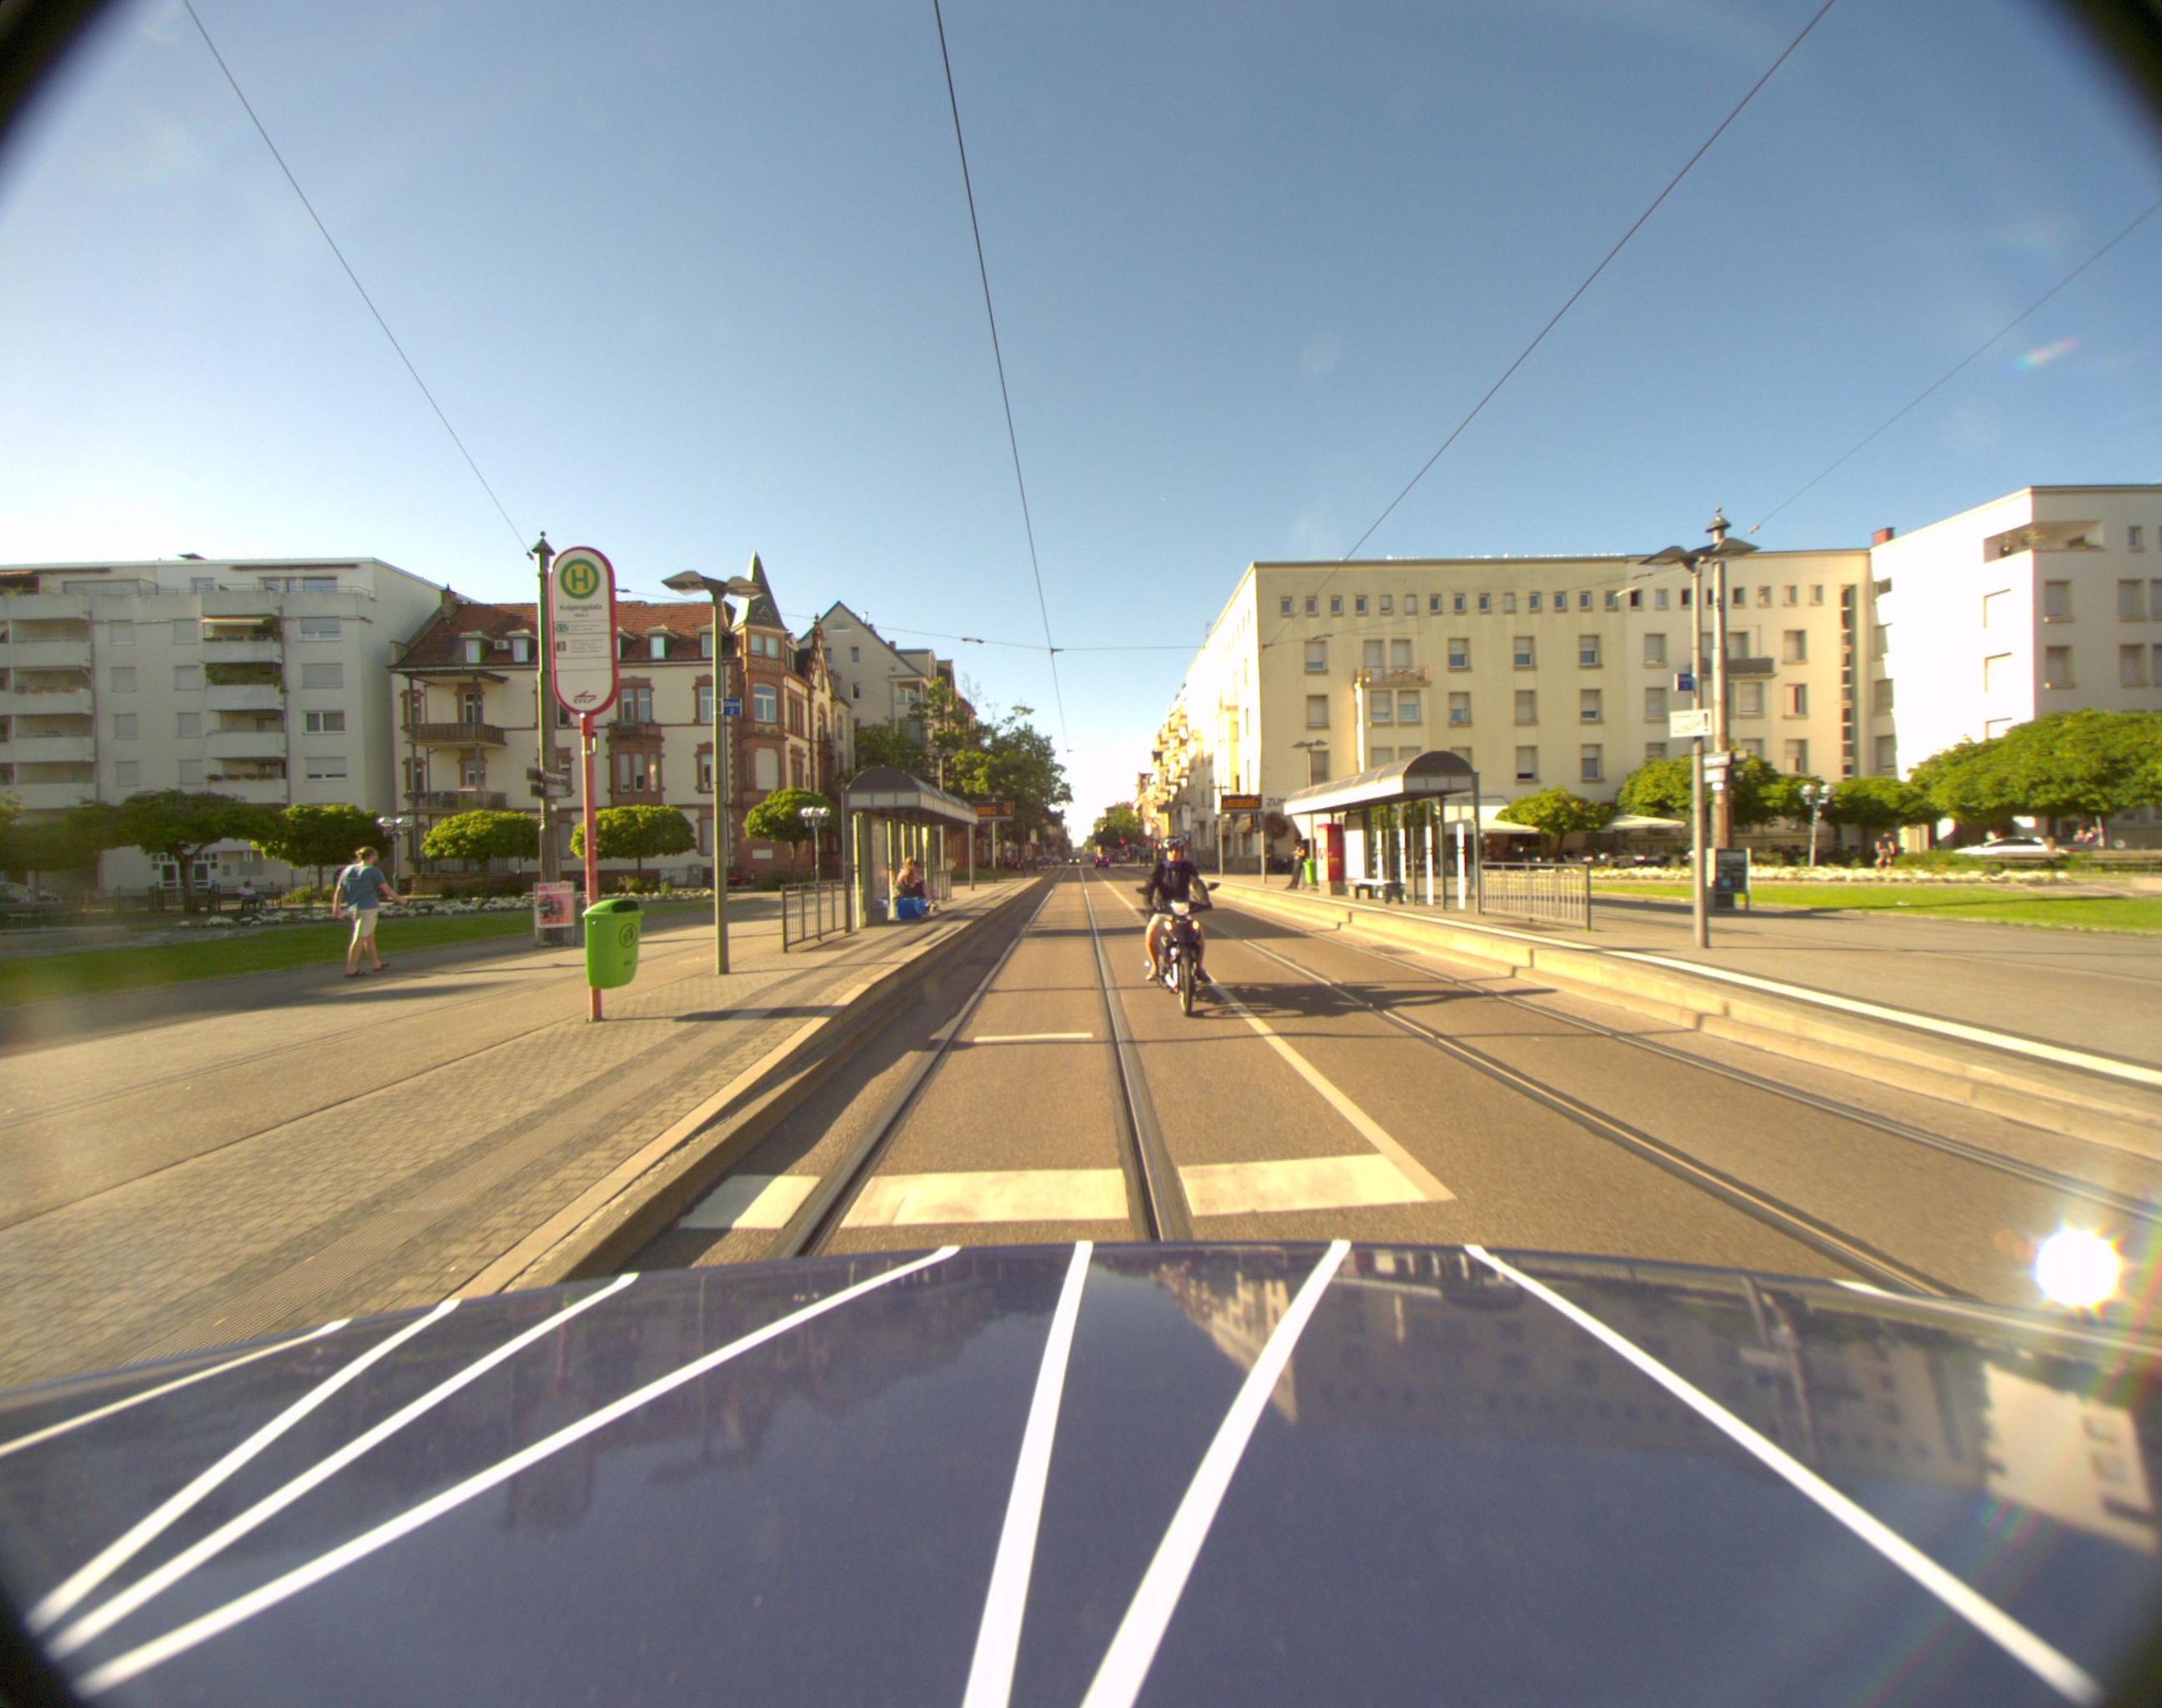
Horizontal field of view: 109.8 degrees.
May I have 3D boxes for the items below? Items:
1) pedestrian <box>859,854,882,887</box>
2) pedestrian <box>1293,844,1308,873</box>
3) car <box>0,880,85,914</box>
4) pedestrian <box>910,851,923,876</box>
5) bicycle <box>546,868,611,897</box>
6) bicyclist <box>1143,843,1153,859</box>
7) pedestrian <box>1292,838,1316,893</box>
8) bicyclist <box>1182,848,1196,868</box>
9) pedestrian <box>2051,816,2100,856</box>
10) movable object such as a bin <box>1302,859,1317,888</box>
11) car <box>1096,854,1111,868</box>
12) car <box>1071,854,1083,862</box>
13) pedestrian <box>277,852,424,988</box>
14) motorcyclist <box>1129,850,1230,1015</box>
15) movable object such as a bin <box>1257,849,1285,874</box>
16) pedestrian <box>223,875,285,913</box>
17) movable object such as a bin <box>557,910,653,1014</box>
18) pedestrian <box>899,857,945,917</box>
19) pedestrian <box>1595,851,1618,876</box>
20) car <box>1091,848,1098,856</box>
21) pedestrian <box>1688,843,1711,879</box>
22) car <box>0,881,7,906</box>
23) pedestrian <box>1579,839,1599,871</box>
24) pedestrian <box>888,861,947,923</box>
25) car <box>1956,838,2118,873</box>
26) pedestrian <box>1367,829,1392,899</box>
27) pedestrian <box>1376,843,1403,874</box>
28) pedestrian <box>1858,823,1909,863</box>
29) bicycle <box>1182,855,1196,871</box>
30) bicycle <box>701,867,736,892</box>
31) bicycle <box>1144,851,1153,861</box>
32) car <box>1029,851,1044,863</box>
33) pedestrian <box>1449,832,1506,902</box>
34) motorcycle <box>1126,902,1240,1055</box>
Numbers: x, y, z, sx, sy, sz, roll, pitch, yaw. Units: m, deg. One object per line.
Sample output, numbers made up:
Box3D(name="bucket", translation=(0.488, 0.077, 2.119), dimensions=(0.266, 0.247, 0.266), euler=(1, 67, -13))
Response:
Box3D(name="pedestrian", translation=(-10.912, 0.856, 39.398), dimensions=(1.070, 1.659, 0.956), euler=(-2, 1, -12))
Box3D(name="pedestrian", translation=(12.564, 0.271, 43.488), dimensions=(0.672, 1.634, 0.752), euler=(-1, -2, 27))
Box3D(name="car", translation=(-51.264, 2.075, 36.258), dimensions=(1.997, 1.508, 4.002), euler=(-1, 0, 7))
Box3D(name="pedestrian", translation=(-11.373, 0.646, 52.663), dimensions=(0.742, 1.725, 0.877), euler=(-2, 1, -6))
Box3D(name="bicycle", translation=(-26.137, 1.449, 39.606), dimensions=(0.745, 1.364, 2.918), euler=(-1, 0, 19))
Box3D(name="bicyclist", translation=(7.564, -0.301, 85.997), dimensions=(1.006, 1.783, 1.095), euler=(-1, 1, -3))
Box3D(name="pedestrian", translation=(6.967, 0.352, 23.764), dimensions=(0.550, 1.708, 0.607), euler=(1, 1, 3))
Box3D(name="bicyclist", translation=(8.117, 0.284, 57.173), dimensions=(0.829, 1.447, 0.877), euler=(-2, 1, 1))
Box3D(name="pedestrian", translation=(51.554, -0.933, 39.402), dimensions=(1.093, 2.002, 1.091), euler=(-1, 1, -1))
Box3D(name="movable object such as a bin", translation=(6.869, 0.588, 22.881), dimensions=(0.337, 0.855, 0.416), euler=(-1, 1, 3))
Box3D(name="car", translation=(2.670, 0.828, 91.053), dimensions=(1.671, 1.479, 3.999), euler=(-2, 0, 0))
Box3D(name="car", translation=(-0.652, 0.608, 131.197), dimensions=(1.998, 1.318, 3.863), euler=(-1, 0, 0))
Box3D(name="pedestrian", translation=(-10.720, 0.924, 11.207), dimensions=(0.984, 1.867, 1.128), euler=(-2, 2, -2))
Box3D(name="motorcyclist", translation=(0.918, 0.699, 7.374), dimensions=(0.821, 1.466, 1.114), euler=(-1, 1, 1))
Box3D(name="movable object such as a bin", translation=(11.066, 0.429, 44.342), dimensions=(1.319, 1.392, 1.128), euler=(-1, 1, -1))
Box3D(name="pedestrian", translation=(-32.317, 1.547, 29.705), dimensions=(1.525, 1.403, 0.936), euler=(-1, 1, 11))
Box3D(name="movable object such as a bin", translation=(-3.913, 0.874, 6.273), dimensions=(0.450, 0.781, 0.489), euler=(-1, 1, 3))
Box3D(name="pedestrian", translation=(-3.763, 0.780, 18.003), dimensions=(0.861, 1.327, 0.623), euler=(-4, 1, 0))
Box3D(name="pedestrian", translation=(26.898, 0.484, 38.895), dimensions=(0.644, 1.262, 0.674), euler=(0, -2, -4))
Box3D(name="car", translation=(3.799, -0.599, 217.076), dimensions=(1.877, 2.105, 4.000), euler=(-2, 1, 2))
Box3D(name="pedestrian", translation=(30.340, 0.374, 37.268), dimensions=(0.675, 1.726, 0.718), euler=(1, -3, -39))
Box3D(name="car", translation=(-56.297, 2.039, 37.067), dimensions=(1.997, 1.280, 4.002), euler=(-1, 0, 7))
Box3D(name="pedestrian", translation=(28.607, 0.057, 42.779), dimensions=(0.675, 1.726, 0.683), euler=(1, -2, -27))
Box3D(name="pedestrian", translation=(-3.551, 0.817, 16.597), dimensions=(1.001, 1.218, 0.923), euler=(-4, 1, 0))
Box3D(name="car", translation=(39.061, 0.044, 31.201), dimensions=(1.998, 1.293, 3.715), euler=(-1, 0, 0))
Box3D(name="pedestrian", translation=(7.964, 0.271, 20.293), dimensions=(0.429, 1.848, 0.526), euler=(1, 1, 3))
Box3D(name="pedestrian", translation=(16.740, 0.244, 41.235), dimensions=(1.066, 1.634, 0.757), euler=(0, -2, -5))
Box3D(name="pedestrian", translation=(36.629, -0.488, 34.711), dimensions=(1.176, 1.777, 1.081), euler=(-1, 1, -1))
Box3D(name="bicycle", translation=(8.133, 0.670, 57.162), dimensions=(0.730, 1.107, 1.976), euler=(-2, 1, 1))
Box3D(name="bicycle", translation=(-18.304, 1.290, 38.469), dimensions=(0.790, 1.062, 2.804), euler=(-2, 2, -9))
Box3D(name="bicycle", translation=(7.591, 0.237, 86.003), dimensions=(0.714, 1.119, 2.035), euler=(-1, 0, -3))
Box3D(name="car", translation=(-7.613, 0.519, 129.474), dimensions=(1.998, 2.002, 4.001), euler=(-1, 0, 3))
Box3D(name="pedestrian", translation=(9.872, 0.313, 18.965), dimensions=(0.995, 1.670, 0.975), euler=(-1, 1, 10))
Box3D(name="motorcycle", translation=(0.918, 1.105, 7.483), dimensions=(0.799, 1.090, 2.428), euler=(-1, 0, 1))
